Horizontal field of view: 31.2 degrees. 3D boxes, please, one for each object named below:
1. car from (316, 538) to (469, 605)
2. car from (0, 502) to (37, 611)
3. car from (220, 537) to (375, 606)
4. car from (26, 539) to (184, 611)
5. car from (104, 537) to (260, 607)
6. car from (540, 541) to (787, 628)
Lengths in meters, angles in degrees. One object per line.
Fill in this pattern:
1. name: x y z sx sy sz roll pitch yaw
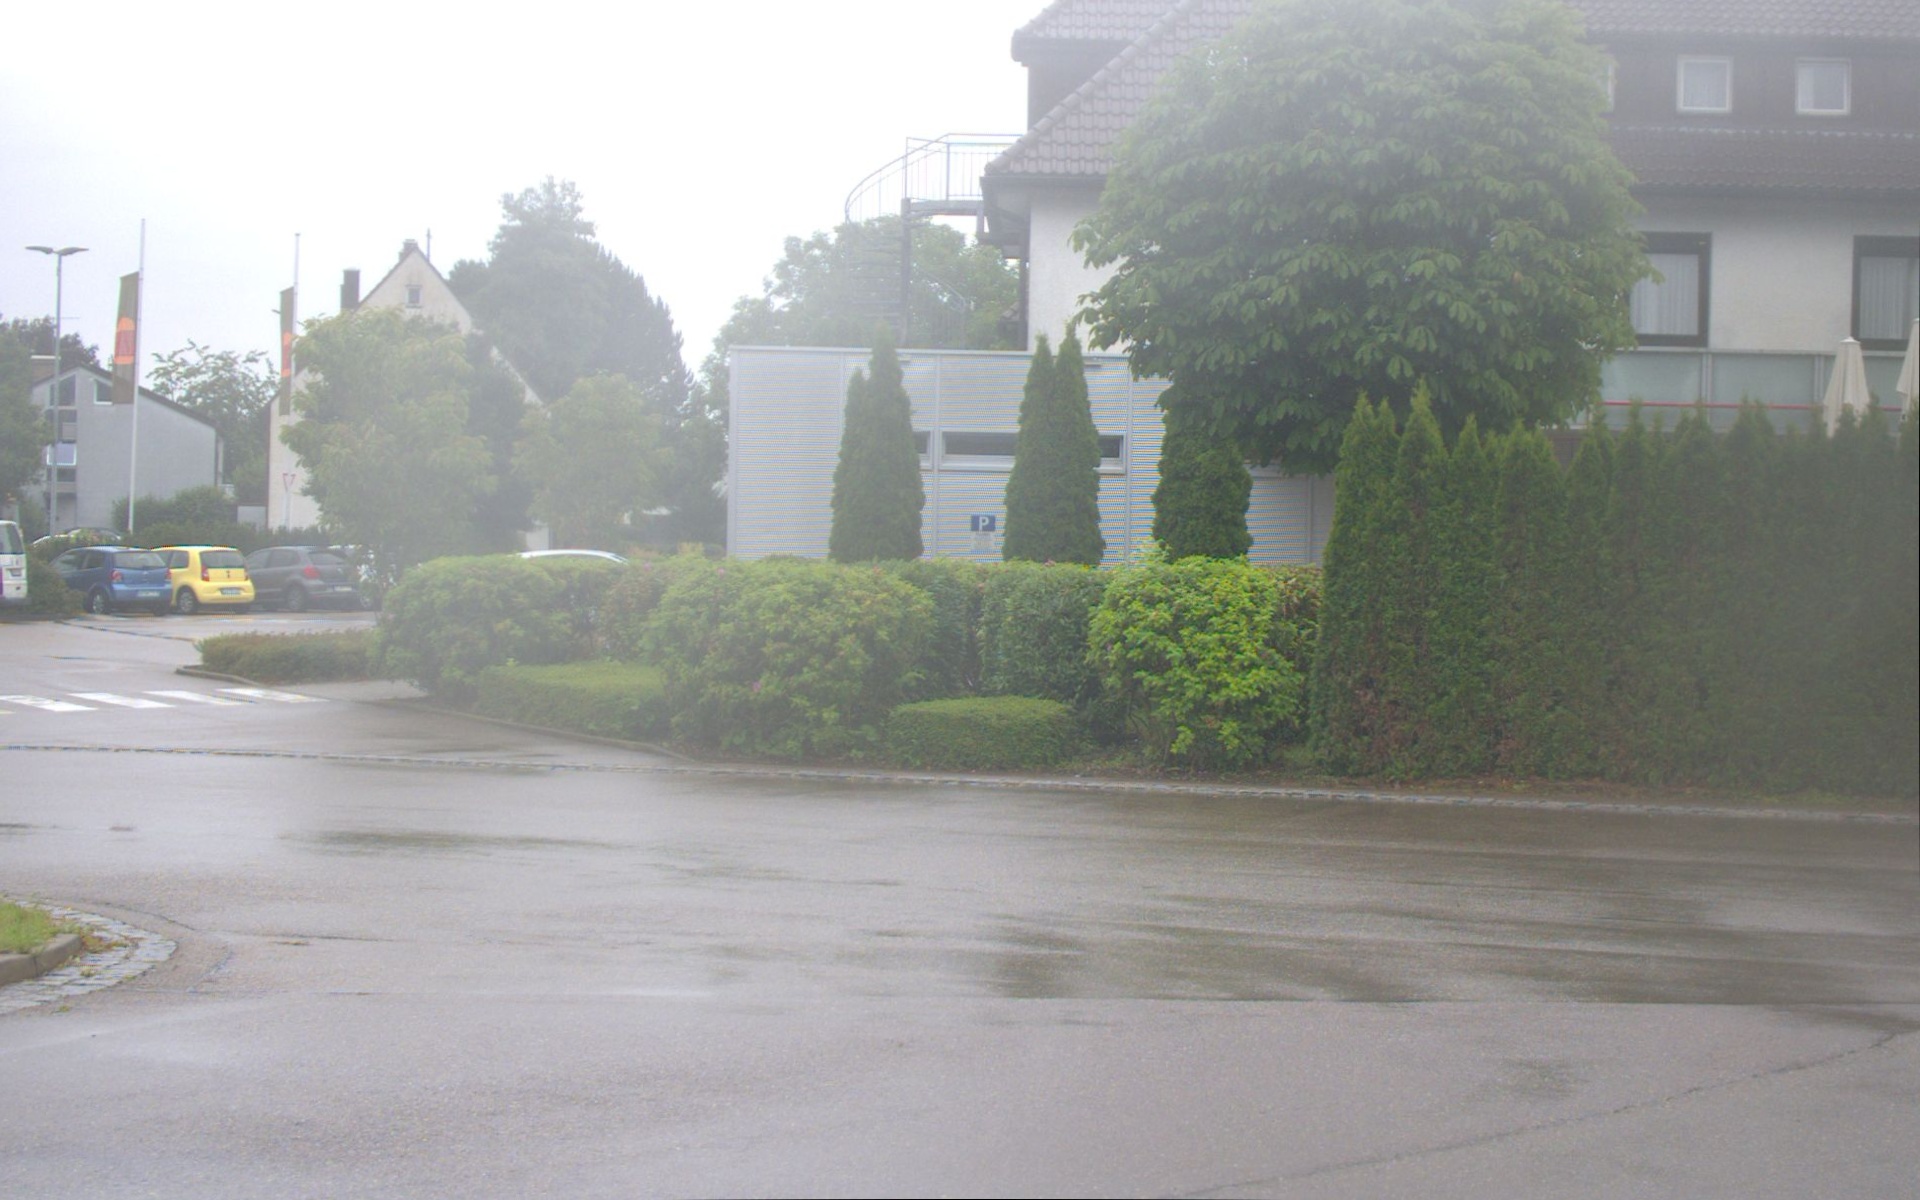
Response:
1. car: -12.877 -0.672 77.892 3.678 1.453 1.581 2 2 45
2. car: -19.881 -0.849 64.788 4.520 2.026 1.645 1 1 1
3. car: -14.724 -0.650 76.288 3.678 1.453 1.581 2 2 45
4. car: -18.013 -0.551 72.343 3.678 1.453 1.552 2 2 45
5. car: -16.911 -0.623 74.625 3.678 1.453 1.581 2 2 45
6. car: -5.181 -0.288 60.388 4.175 1.492 1.718 0 1 0
